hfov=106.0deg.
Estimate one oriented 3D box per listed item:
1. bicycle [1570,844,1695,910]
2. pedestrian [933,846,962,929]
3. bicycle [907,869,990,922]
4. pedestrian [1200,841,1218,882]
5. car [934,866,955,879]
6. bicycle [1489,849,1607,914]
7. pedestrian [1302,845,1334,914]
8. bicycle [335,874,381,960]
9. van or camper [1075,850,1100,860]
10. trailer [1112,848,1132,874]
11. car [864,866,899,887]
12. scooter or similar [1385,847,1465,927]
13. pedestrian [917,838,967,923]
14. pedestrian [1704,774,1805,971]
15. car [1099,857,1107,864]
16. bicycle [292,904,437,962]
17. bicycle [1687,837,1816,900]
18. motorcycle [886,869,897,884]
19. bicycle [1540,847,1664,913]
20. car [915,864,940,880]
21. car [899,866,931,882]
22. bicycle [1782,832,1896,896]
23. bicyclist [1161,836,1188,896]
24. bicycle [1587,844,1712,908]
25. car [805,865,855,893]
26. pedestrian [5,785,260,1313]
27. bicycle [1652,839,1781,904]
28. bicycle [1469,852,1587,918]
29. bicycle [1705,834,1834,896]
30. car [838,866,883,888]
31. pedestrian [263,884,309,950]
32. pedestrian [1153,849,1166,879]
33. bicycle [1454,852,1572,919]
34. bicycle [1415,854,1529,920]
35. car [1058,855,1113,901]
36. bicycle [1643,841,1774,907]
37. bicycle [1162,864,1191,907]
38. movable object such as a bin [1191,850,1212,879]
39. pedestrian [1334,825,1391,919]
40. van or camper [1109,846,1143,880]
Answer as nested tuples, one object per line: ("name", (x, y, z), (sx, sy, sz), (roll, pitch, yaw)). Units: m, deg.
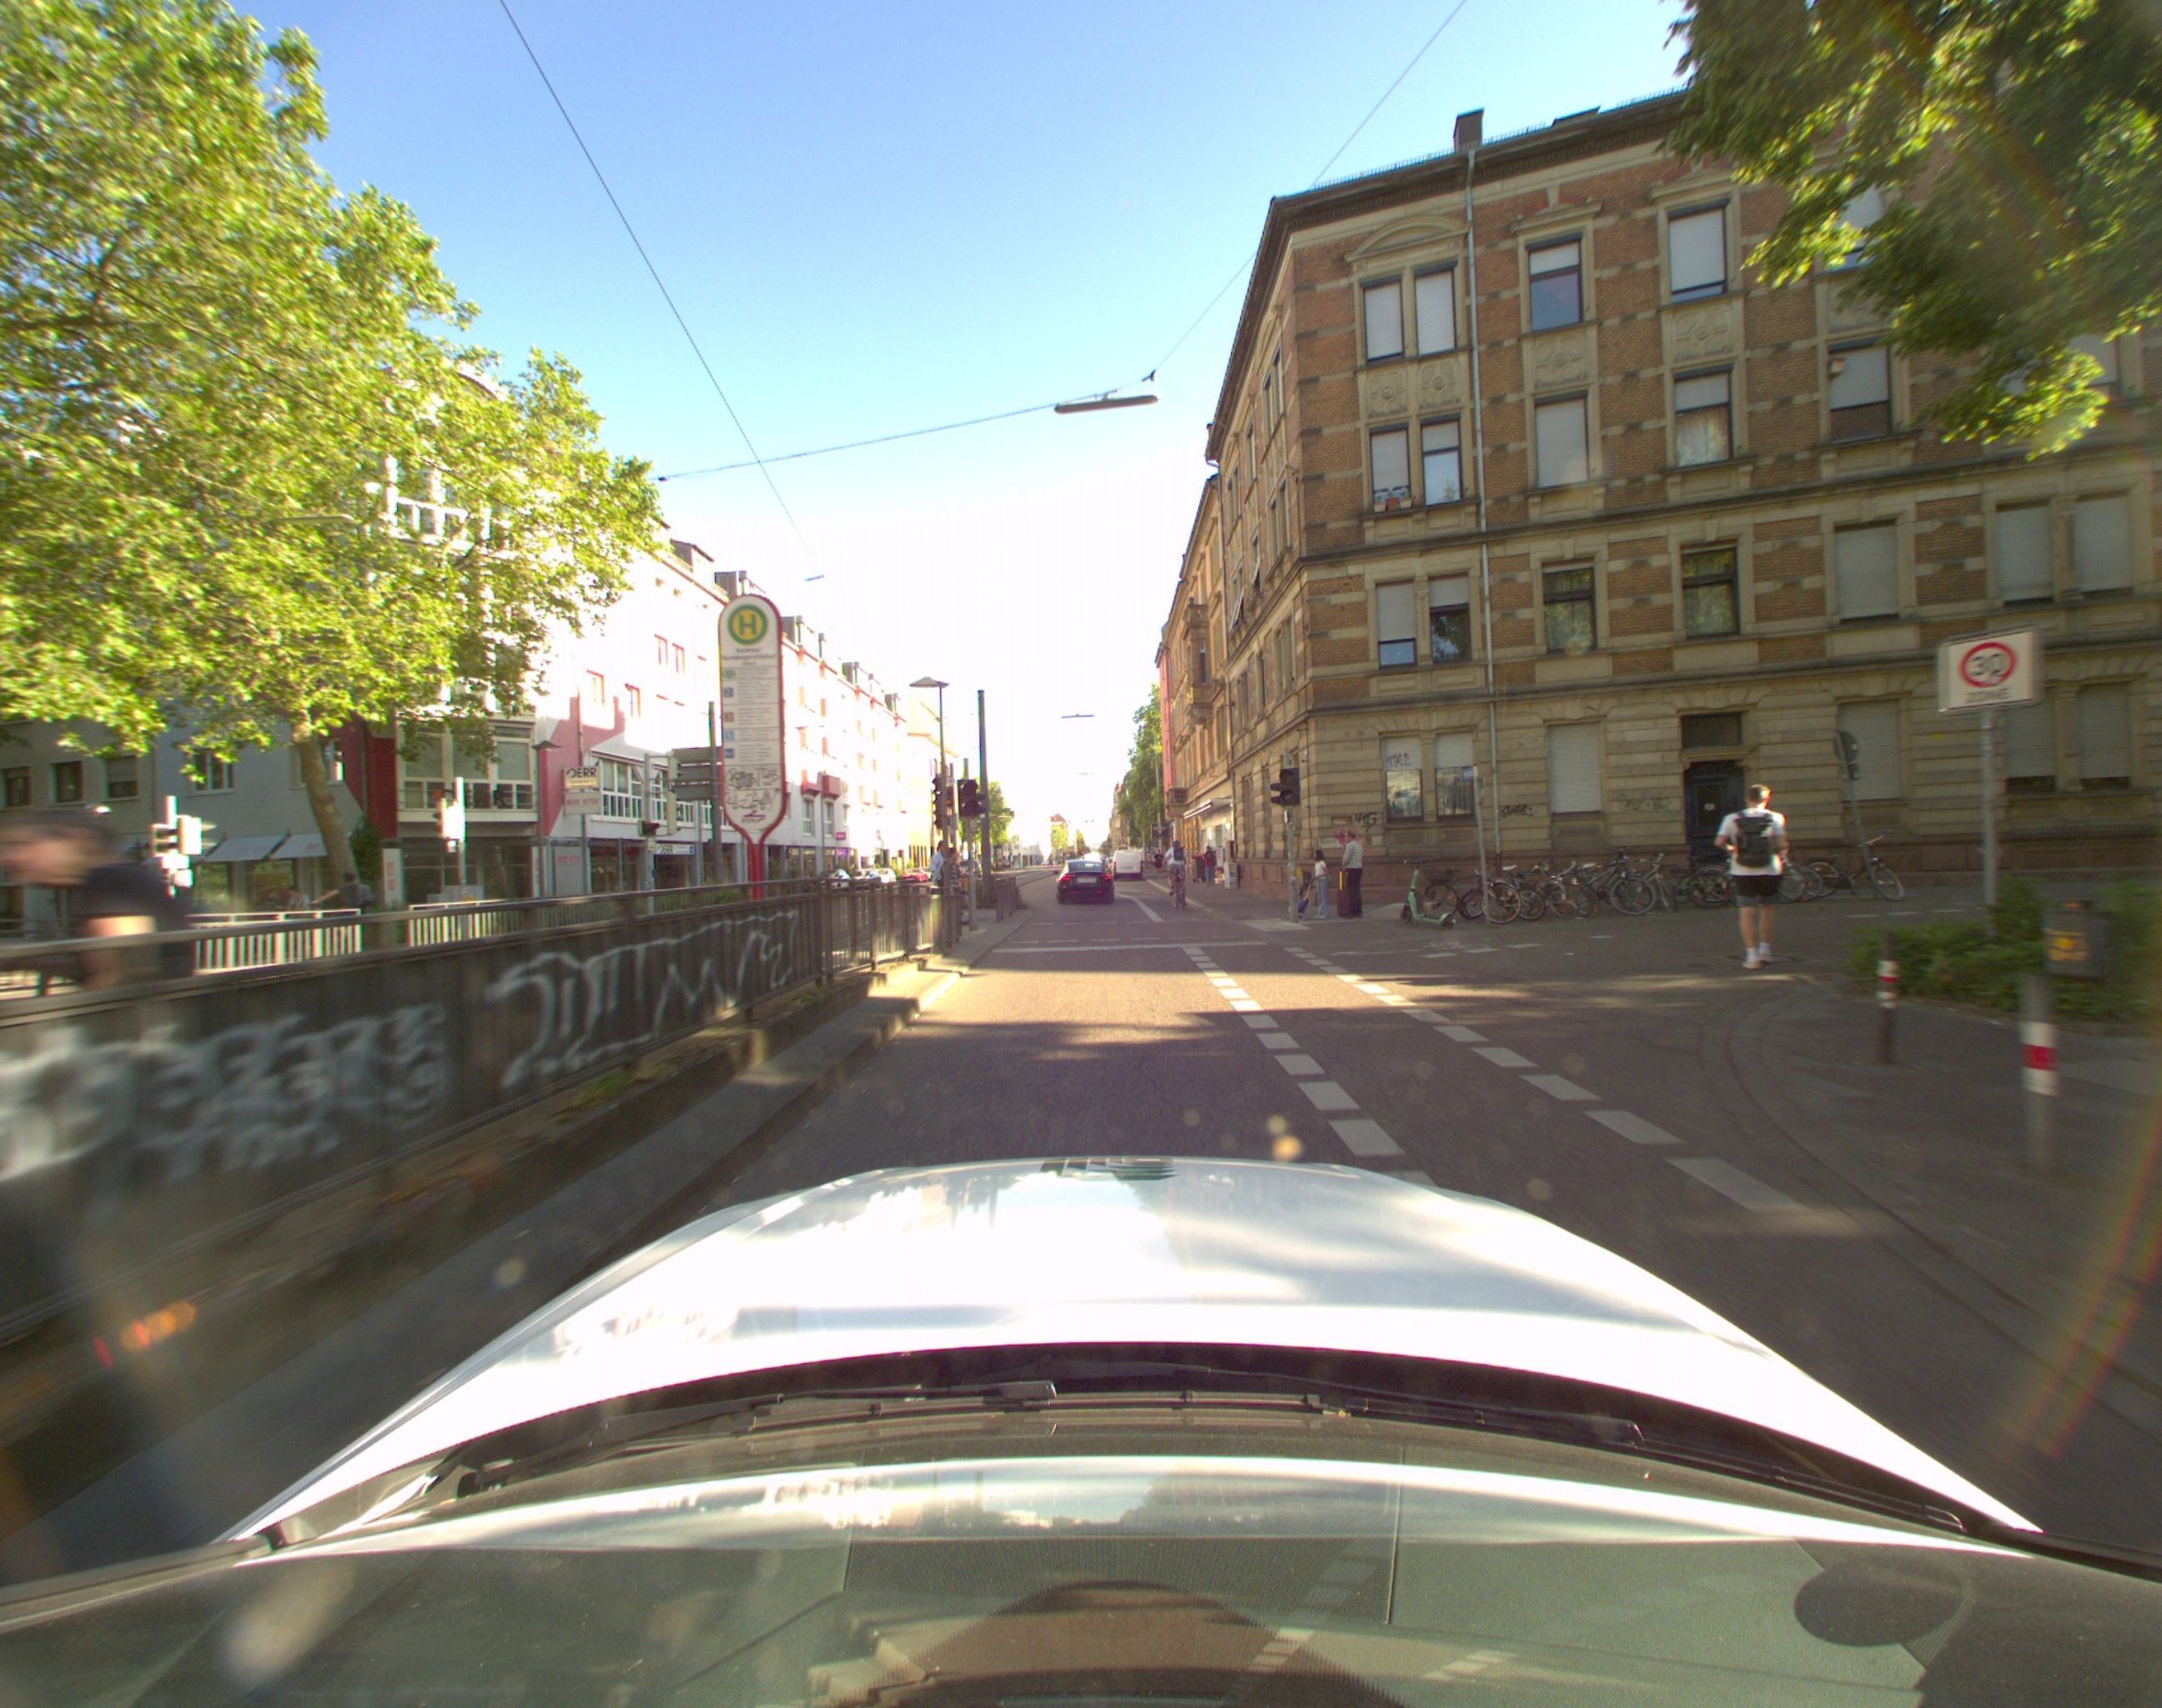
("bicycle", (9.974, 0.416, 14.788), (0.447, 1.115, 1.793), (-2, 0, -40))
("pedestrian", (-2.608, 0.647, 15.965), (0.517, 1.590, 0.665), (1, -1, -8))
("bicycle", (-2.977, 0.909, 18.196), (1.920, 1.094, 0.602), (1, -1, 35))
("pedestrian", (5.495, 0.306, 34.955), (0.464, 1.728, 0.591), (-3, 0, 37))
("car", (-15.296, 2.049, 91.472), (1.653, 1.422, 3.620), (-1, 0, 1))
("bicycle", (8.530, 0.503, 14.952), (0.447, 1.115, 1.793), (-2, 0, -40))
("pedestrian", (4.927, 0.530, 16.963), (0.570, 1.414, 0.582), (-1, 0, 11))
("bicycle", (-14.915, 1.284, 16.821), (0.586, 1.716, 0.641), (-2, -1, -33))
("van or camper", (1.928, 0.240, 227.321), (6.910, 2.654, 2.123), (-3, 0, -35))
("trailer", (3.538, 0.584, 69.782), (1.654, 2.117, 3.845), (-1, -1, 3))
("car", (-15.896, 1.786, 65.069), (1.746, 1.475, 4.205), (-2, 0, -2))
("scooter or similar", (5.930, 0.548, 14.110), (0.391, 1.289, 1.515), (-2, 0, -14))
("pedestrian", (-3.086, 0.567, 18.102), (0.587, 1.821, 0.948), (-1, 0, 34))
("pedestrian", (7.248, 0.183, 8.806), (0.709, 1.984, 0.949), (-2, 0, 34))
("car", (4.696, 1.422, 173.844), (1.587, 1.433, 3.688), (-3, -1, 2))
("bicycle", (-14.829, 1.613, 16.943), (2.179, 0.966, 0.640), (-2, 0, -34))
("bicycle", (12.589, 0.273, 15.350), (0.446, 1.115, 1.797), (-2, 0, -31))
("motorcycle", (-17.146, 2.009, 73.686), (0.517, 1.297, 2.082), (-1, 0, 1))
("bicycle", (9.370, 0.466, 14.715), (0.447, 1.115, 1.793), (-2, 0, -40))
("car", (-15.415, 1.768, 81.971), (1.663, 1.468, 4.291), (-1, 0, 1))
("car", (-15.520, 1.843, 76.360), (1.953, 1.325, 4.820), (-1, 0, 0))
("bicycle", (14.123, 0.179, 15.248), (0.441, 1.115, 1.815), (-2, 0, 2))
("bicyclist", (2.653, 0.328, 23.202), (0.652, 1.656, 0.928), (-2, -1, 3))
("bicycle", (10.444, 0.404, 15.023), (0.447, 1.115, 1.793), (-2, 0, -40))
("car", (-16.243, 1.571, 52.923), (1.912, 1.614, 4.367), (-2, 0, -2))
("pedestrian", (-2.702, 0.495, 2.324), (0.475, 1.329, 0.356), (-3, 0, 30))
("bicycle", (11.691, 0.329, 15.041), (0.447, 1.115, 1.793), (-2, 0, -40))
("bicycle", (8.060, 0.553, 14.759), (0.447, 1.115, 1.793), (-2, 0, -40))
("bicycle", (13.084, 0.216, 15.528), (0.446, 1.115, 1.797), (-2, 0, -31))
("car", (-16.174, 1.652, 59.966), (1.895, 1.458, 4.826), (-2, 0, 0))
("pedestrian", (-20.761, 1.633, 21.280), (0.693, 1.636, 0.669), (-2, -1, -32))
("pedestrian", (4.889, 0.633, 50.991), (0.670, 1.814, 0.756), (-2, -1, 0))
("bicycle", (7.660, 0.560, 14.513), (0.446, 1.115, 1.793), (-2, 0, -39))
("bicycle", (6.968, 0.583, 14.589), (0.446, 1.115, 1.793), (-2, 0, -39))
("car", (0.160, 0.764, 27.510), (1.714, 1.405, 3.709), (-1, 0, 0))
("bicycle", (11.316, 0.364, 14.749), (0.447, 1.115, 1.793), (-2, 0, -40))
("bicycle", (2.689, 0.870, 23.101), (0.644, 1.139, 2.097), (-1, -1, 3))
("movable object such as a bin", (5.789, 0.519, 39.320), (0.773, 1.347, 1.299), (-2, -1, 0))
("pedestrian", (5.682, 0.349, 16.459), (0.843, 1.807, 0.877), (-3, 0, 6))
("van or camper", (2.860, 0.600, 52.375), (1.924, 2.037, 5.475), (-1, -1, 1))
